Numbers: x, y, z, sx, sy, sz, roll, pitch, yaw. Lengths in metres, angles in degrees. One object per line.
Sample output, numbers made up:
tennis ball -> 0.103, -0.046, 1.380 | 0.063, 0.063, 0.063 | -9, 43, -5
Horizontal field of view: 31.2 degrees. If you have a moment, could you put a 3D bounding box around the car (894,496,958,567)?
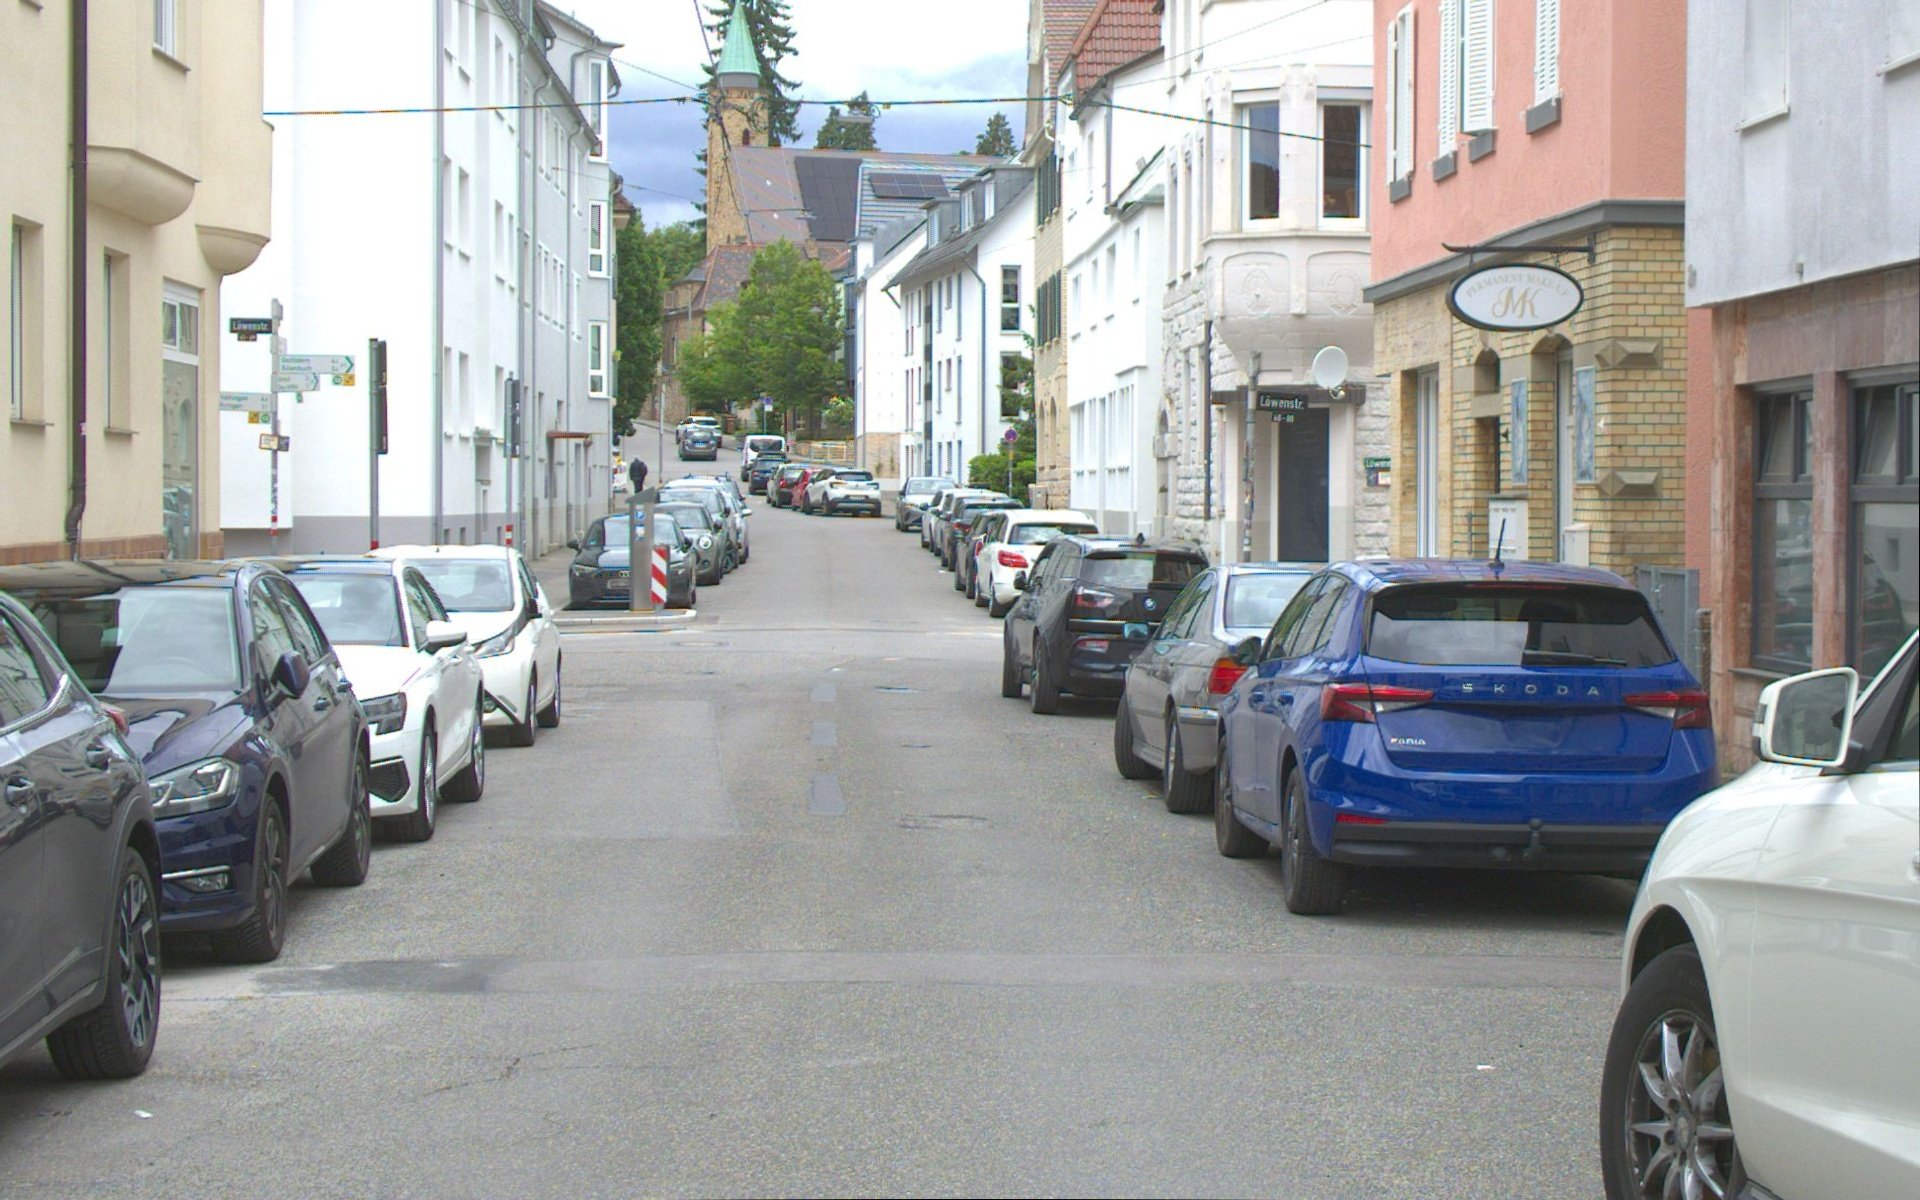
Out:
car -> -0.914, -1.781, 90.249 | 1.578, 1.753, 3.210 | 2, 0, -2

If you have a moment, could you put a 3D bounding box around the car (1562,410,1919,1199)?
car -> 2.371, 0.594, 5.103 | 1.933, 1.706, 4.377 | 1, 1, -3

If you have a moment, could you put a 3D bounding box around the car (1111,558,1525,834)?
car -> 1.981, 0.483, 20.155 | 1.748, 1.386, 4.032 | 2, 1, -3

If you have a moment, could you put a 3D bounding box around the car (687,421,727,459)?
car -> -13.796, -8.740, 187.311 | 1.821, 1.917, 3.751 | 3, 3, -8

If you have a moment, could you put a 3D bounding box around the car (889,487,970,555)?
car -> -0.654, -1.670, 72.028 | 1.407, 1.301, 2.903 | 2, 3, -6

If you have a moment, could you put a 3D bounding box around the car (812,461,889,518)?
car -> -3.507, -3.522, 109.138 | 1.759, 1.661, 4.002 | 3, 2, -11

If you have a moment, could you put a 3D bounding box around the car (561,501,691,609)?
car -> -4.958, -0.706, 51.408 | 1.674, 1.459, 4.001 | 3, 2, -3

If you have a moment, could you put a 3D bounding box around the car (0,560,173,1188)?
car -> -3.193, 0.678, 8.255 | 1.768, 1.490, 3.982 | -2, 1, -2

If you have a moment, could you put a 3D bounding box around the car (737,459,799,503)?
car -> -7.660, -4.727, 136.761 | 1.888, 1.598, 3.716 | 3, 2, -11

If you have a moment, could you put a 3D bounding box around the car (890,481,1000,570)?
car -> -0.325, -1.460, 66.657 | 1.727, 1.569, 3.835 | 2, 3, -6

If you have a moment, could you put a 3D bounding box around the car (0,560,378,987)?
car -> -3.340, 0.571, 13.629 | 1.606, 1.419, 3.854 | 0, 1, -3

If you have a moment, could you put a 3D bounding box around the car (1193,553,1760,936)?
car -> 2.117, 0.530, 15.108 | 1.774, 1.436, 3.783 | 1, 1, -2

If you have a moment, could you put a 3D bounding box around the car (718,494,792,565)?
car -> -4.572, -1.556, 76.640 | 1.539, 1.336, 3.285 | 3, -2, -3

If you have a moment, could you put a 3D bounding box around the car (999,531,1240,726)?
car -> 1.377, 0.205, 31.014 | 1.712, 1.544, 3.803 | 3, 1, -3

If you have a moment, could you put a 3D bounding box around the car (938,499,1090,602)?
car -> 0.846, -0.834, 56.312 | 1.954, 1.569, 4.001 | 2, 1, -6

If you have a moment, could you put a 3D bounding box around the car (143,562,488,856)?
car -> -3.352, 0.500, 18.394 | 1.283, 1.354, 3.805 | 0, 1, -3

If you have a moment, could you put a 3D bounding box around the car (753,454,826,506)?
car -> -5.970, -4.206, 119.943 | 1.888, 1.640, 3.976 | 3, 3, -11

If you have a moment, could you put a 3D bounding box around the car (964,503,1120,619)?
car -> 1.171, -0.609, 51.139 | 1.766, 1.520, 3.904 | 2, 3, -6

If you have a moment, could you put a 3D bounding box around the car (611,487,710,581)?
car -> -5.239, -1.185, 60.431 | 1.539, 1.510, 3.379 | 3, 2, -3

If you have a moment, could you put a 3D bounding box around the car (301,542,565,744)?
car -> -3.927, 0.282, 26.031 | 1.586, 1.417, 3.401 | 0, 1, -2

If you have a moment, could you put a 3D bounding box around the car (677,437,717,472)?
car -> -13.296, -7.339, 173.629 | 1.747, 1.678, 3.600 | 3, 2, -7
